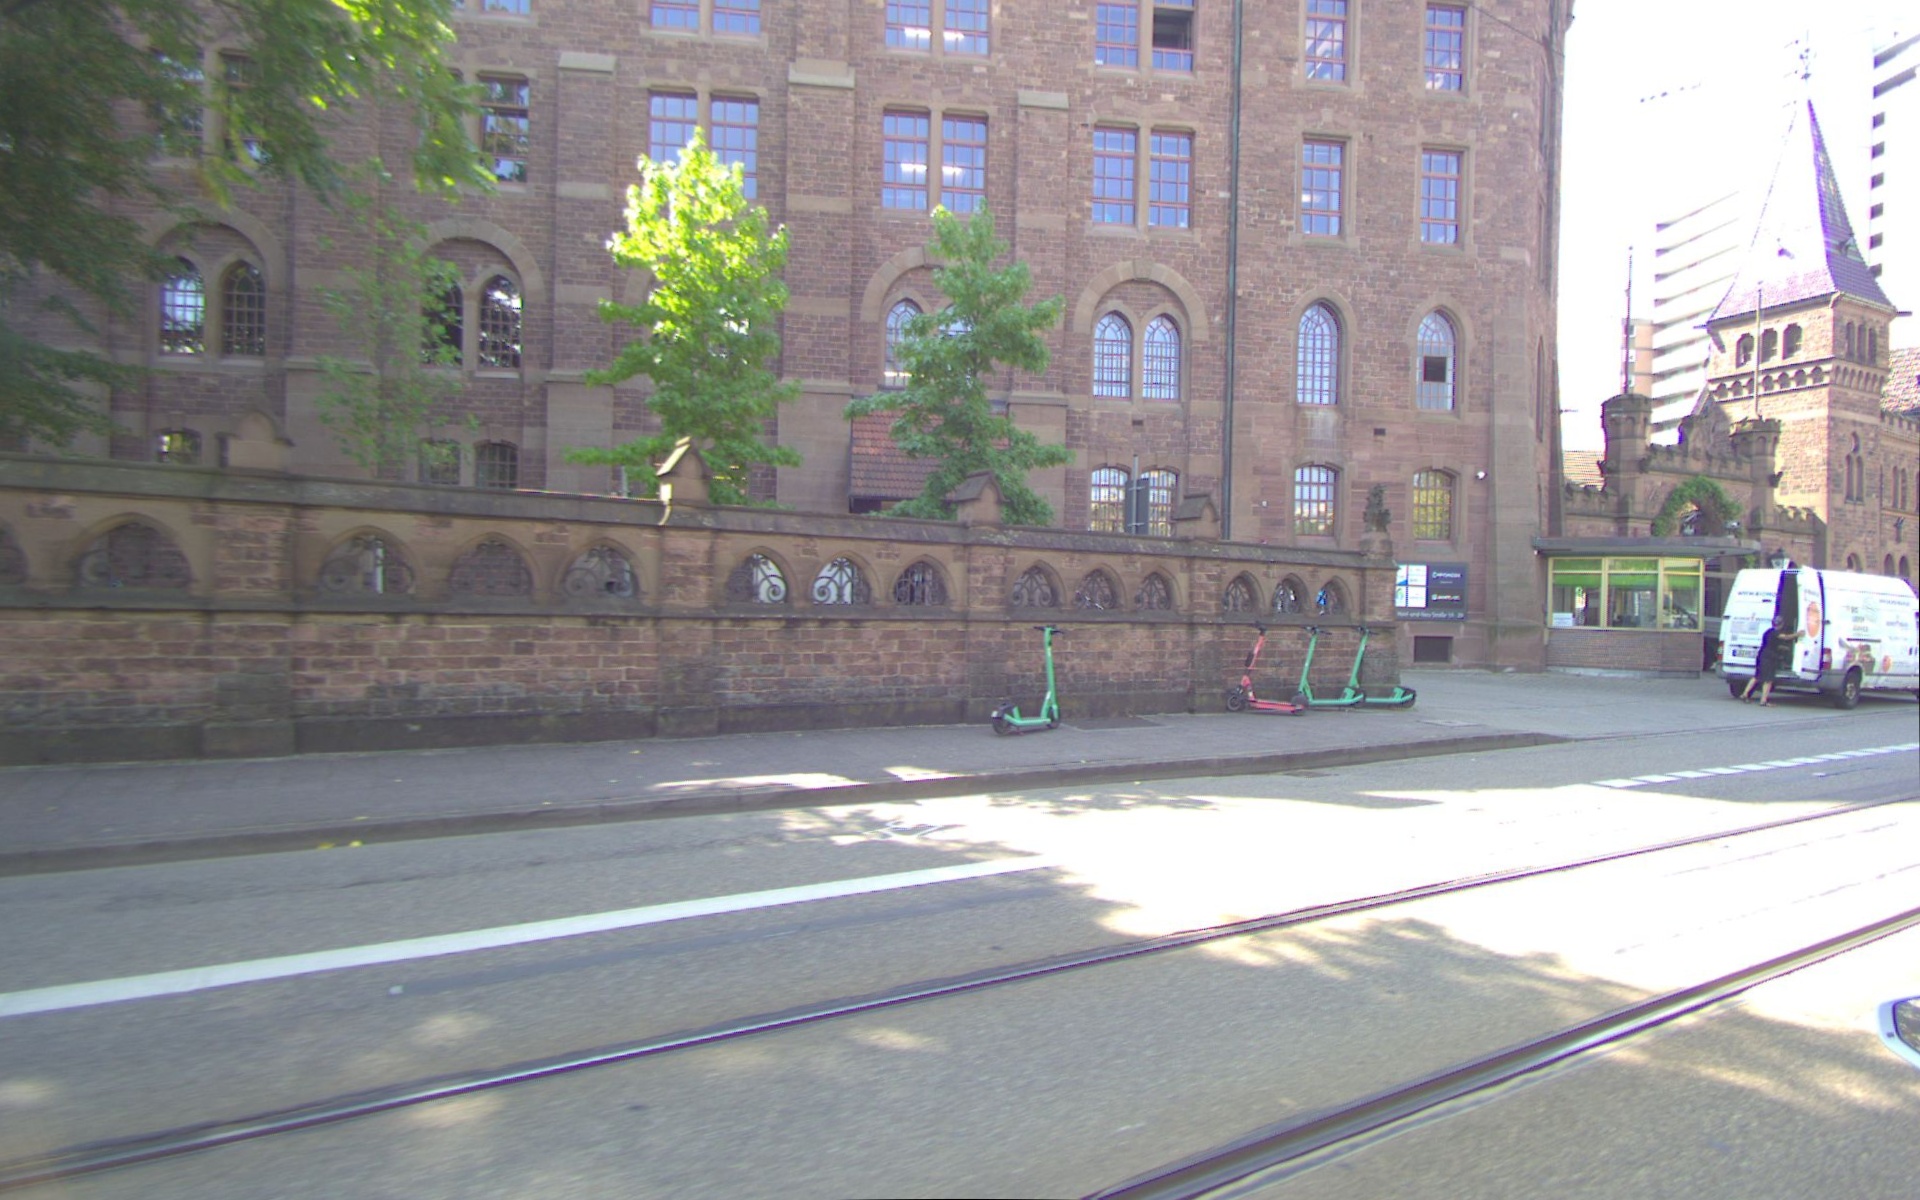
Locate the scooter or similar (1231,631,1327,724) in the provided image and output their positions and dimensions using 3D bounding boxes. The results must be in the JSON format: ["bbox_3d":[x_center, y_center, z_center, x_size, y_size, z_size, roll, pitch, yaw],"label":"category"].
[{"bbox_3d":[4.272,1.037,13.460,1.156,1.194,0.340,2,0,-5],"label":"scooter or similar"}]

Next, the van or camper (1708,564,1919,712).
[{"bbox_3d":[18.166,0.769,20.755,5.883,2.711,2.103,2,0,-29],"label":"van or camper"}]

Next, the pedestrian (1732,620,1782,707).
[{"bbox_3d":[15.246,1.209,19.223,0.541,1.620,0.499,2,0,12],"label":"pedestrian"}]

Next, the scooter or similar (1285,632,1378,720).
[{"bbox_3d":[5.221,1.067,14.134,1.156,1.194,0.340,2,0,-5],"label":"scooter or similar"}]

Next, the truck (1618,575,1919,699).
[{"bbox_3d":[20.820,0.768,25.805,2.102,2.573,6.300,0,3,-25],"label":"truck"}]

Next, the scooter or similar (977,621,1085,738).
[{"bbox_3d":[0.791,0.835,10.986,0.416,1.194,1.309,2,0,44],"label":"scooter or similar"}]

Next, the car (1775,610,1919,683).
[{"bbox_3d":[26.758,1.342,29.287,1.976,1.767,4.117,2,3,-29],"label":"car"}]

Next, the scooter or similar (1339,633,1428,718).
[{"bbox_3d":[6.190,1.098,14.696,1.156,1.194,0.340,2,0,-5],"label":"scooter or similar"}]
